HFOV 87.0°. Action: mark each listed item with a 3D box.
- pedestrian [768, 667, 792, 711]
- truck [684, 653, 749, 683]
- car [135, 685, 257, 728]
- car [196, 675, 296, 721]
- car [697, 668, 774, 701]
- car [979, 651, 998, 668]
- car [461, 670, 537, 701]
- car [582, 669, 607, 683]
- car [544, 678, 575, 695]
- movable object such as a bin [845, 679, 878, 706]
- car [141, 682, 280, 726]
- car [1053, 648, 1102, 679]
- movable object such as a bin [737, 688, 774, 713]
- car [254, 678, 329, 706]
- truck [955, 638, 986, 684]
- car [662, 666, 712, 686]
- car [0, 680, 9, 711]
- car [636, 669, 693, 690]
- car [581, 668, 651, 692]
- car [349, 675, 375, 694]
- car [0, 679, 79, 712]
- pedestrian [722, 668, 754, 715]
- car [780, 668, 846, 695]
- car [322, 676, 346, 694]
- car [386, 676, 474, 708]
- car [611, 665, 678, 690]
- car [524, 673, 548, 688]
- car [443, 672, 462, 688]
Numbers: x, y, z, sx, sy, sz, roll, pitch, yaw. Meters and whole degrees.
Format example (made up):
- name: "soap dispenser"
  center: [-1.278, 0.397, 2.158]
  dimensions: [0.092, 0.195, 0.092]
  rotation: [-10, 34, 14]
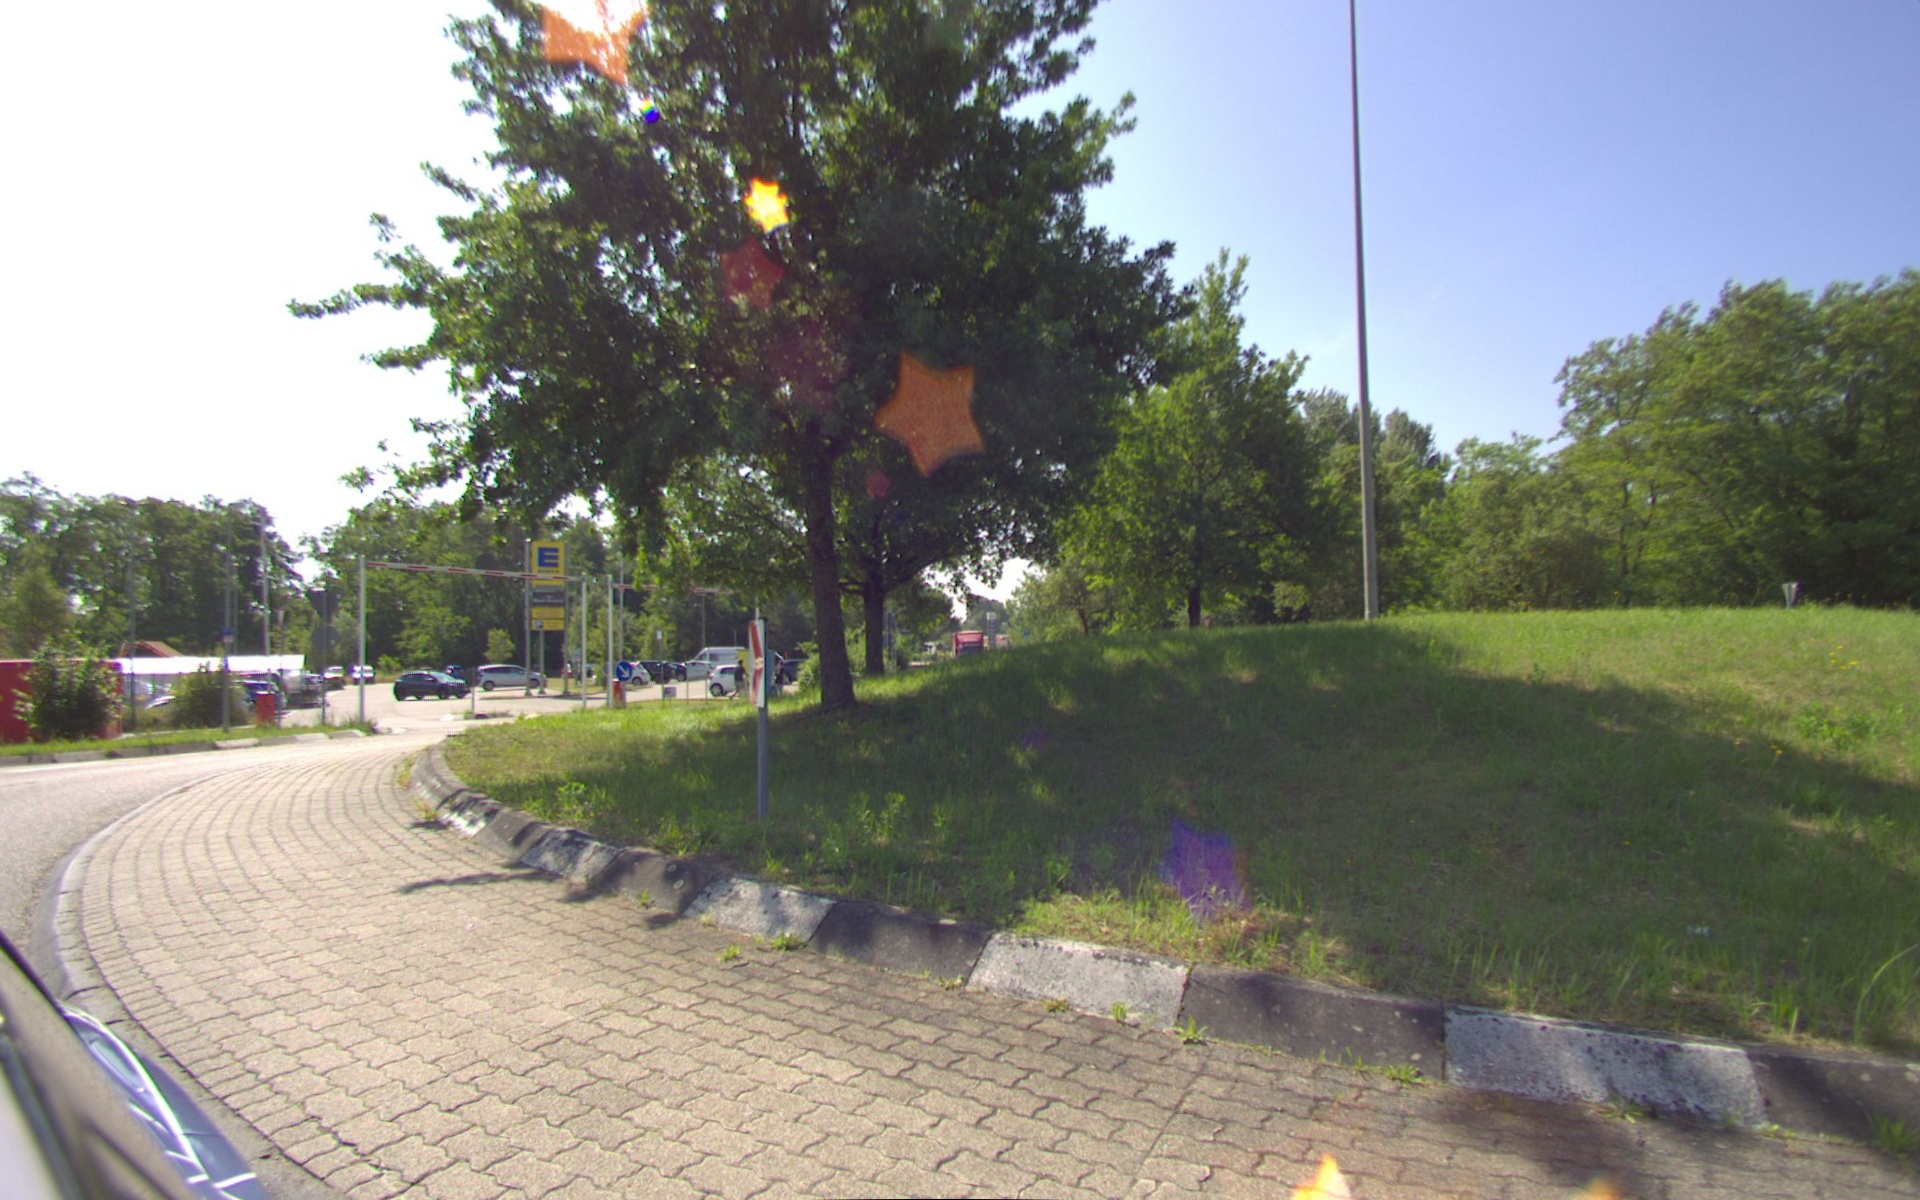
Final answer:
- name: "pedestrian"
  center: [-6.991, 3.456, 39.331]
  dimensions: [0.701, 1.661, 0.590]
  rotation: [-4, -5, 31]
- name: "truck"
  center: [-22.722, 6.371, 94.552]
  dimensions: [5.535, 2.625, 2.204]
  rotation: [-1, -4, -2]
- name: "car"
  center: [-29.708, 4.140, 39.471]
  dimensions: [3.432, 1.469, 1.721]
  rotation: [-1, -4, -21]
- name: "car"
  center: [-33.044, 4.520, 46.932]
  dimensions: [3.432, 1.944, 1.884]
  rotation: [-1, -4, -21]
- name: "car"
  center: [-11.193, 4.218, 50.594]
  dimensions: [3.550, 1.574, 1.816]
  rotation: [0, -4, -5]
- name: "car"
  center: [3.269, 6.816, 116.254]
  dimensions: [1.872, 1.830, 4.597]
  rotation: [-1, -4, -2]
- name: "car"
  center: [-30.787, 5.654, 67.573]
  dimensions: [4.482, 1.715, 2.006]
  rotation: [-2, -3, -28]
- name: "car"
  center: [-39.716, 8.263, 109.893]
  dimensions: [2.035, 1.497, 4.012]
  rotation: [0, -4, -28]
- name: "car"
  center: [-37.894, 8.175, 95.634]
  dimensions: [1.966, 1.477, 4.507]
  rotation: [1, -4, -32]
- name: "movable object such as a bin"
  center: [-4.554, 4.267, 46.790]
  dimensions: [0.866, 1.129, 1.442]
  rotation: [-4, -4, 26]
- name: "car"
  center: [-30.897, 4.272, 41.869]
  dimensions: [4.351, 1.583, 1.721]
  rotation: [0, -4, -24]
- name: "car"
  center: [6.931, 3.809, 60.290]
  dimensions: [2.070, 1.728, 4.721]
  rotation: [-2, -4, -3]
- name: "movable object such as a bin"
  center: [-8.195, 4.018, 40.534]
  dimensions: [0.876, 0.962, 1.192]
  rotation: [-4, -4, 28]
- name: "car"
  center: [-45.183, 6.222, 68.511]
  dimensions: [3.930, 1.675, 2.006]
  rotation: [0, -4, -23]
- name: "truck"
  center: [0.895, 5.604, 92.834]
  dimensions: [2.684, 3.945, 5.950]
  rotation: [-1, -4, 0]
- name: "car"
  center: [-22.543, 6.267, 83.709]
  dimensions: [3.909, 1.464, 1.909]
  rotation: [-1, -4, -11]
- name: "car"
  center: [-59.210, 5.713, 59.869]
  dimensions: [3.932, 1.830, 2.005]
  rotation: [1, -4, -32]
- name: "car"
  center: [-22.034, 5.950, 75.539]
  dimensions: [3.936, 1.438, 1.752]
  rotation: [-1, -4, -8]
- name: "car"
  center: [-22.044, 5.118, 64.957]
  dimensions: [3.942, 1.453, 1.651]
  rotation: [-1, -4, -2]
- name: "car"
  center: [-58.555, 8.266, 99.140]
  dimensions: [2.035, 1.724, 4.012]
  rotation: [0, -4, -28]
- name: "car"
  center: [-61.899, 6.382, 67.826]
  dimensions: [3.931, 2.029, 2.006]
  rotation: [0, -4, -27]
- name: "pedestrian"
  center: [-8.691, 3.579, 39.669]
  dimensions: [0.877, 1.799, 0.834]
  rotation: [-4, -4, 29]
- name: "car"
  center: [-9.605, 5.327, 66.325]
  dimensions: [4.075, 1.640, 1.752]
  rotation: [-1, -3, 0]
- name: "car"
  center: [-60.536, 8.223, 97.950]
  dimensions: [1.765, 1.608, 4.273]
  rotation: [1, -4, -29]
- name: "car"
  center: [-29.060, 5.031, 55.545]
  dimensions: [3.943, 1.601, 1.661]
  rotation: [-2, -4, -1]
- name: "car"
  center: [-21.881, 5.394, 70.400]
  dimensions: [4.104, 1.586, 2.002]
  rotation: [-2, -4, -4]
- name: "car"
  center: [-45.055, 8.480, 107.454]
  dimensions: [2.035, 1.497, 4.012]
  rotation: [0, -4, -28]
- name: "car"
  center: [-51.839, 8.145, 103.266]
  dimensions: [1.634, 1.497, 4.386]
  rotation: [1, -4, -28]
